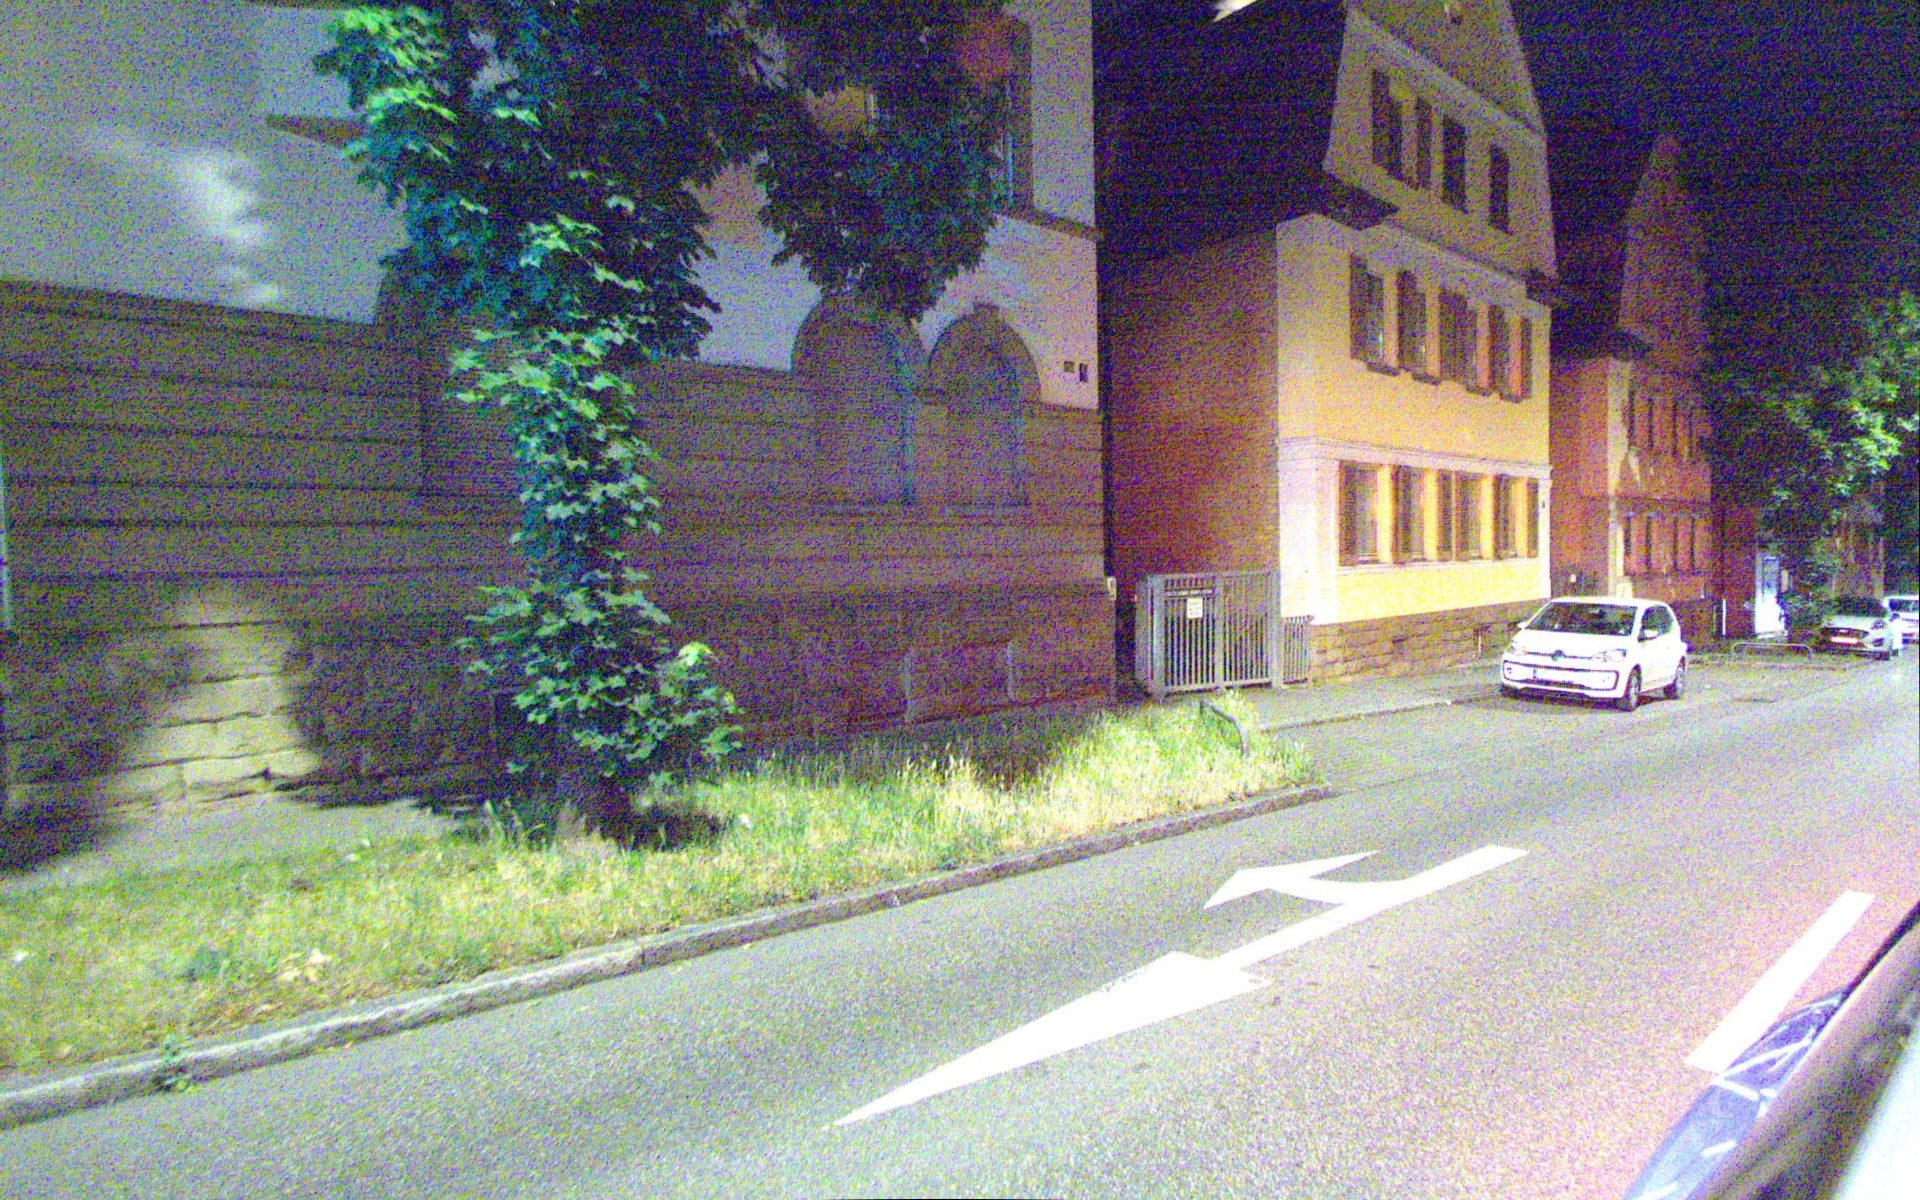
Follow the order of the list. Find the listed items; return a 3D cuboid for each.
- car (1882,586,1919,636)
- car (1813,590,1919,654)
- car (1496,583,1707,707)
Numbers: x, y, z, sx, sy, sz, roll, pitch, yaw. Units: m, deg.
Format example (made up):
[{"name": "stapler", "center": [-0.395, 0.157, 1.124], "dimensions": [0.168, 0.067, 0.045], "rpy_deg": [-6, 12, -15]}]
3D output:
[{"name": "car", "center": [33.543, 0.367, 35.141], "dimensions": [4.107, 1.673, 1.850], "rpy_deg": [0, 0, -42]}, {"name": "car", "center": [23.619, 0.507, 26.283], "dimensions": [3.824, 1.516, 1.740], "rpy_deg": [0, 2, -43]}, {"name": "car", "center": [9.280, 0.556, 14.561], "dimensions": [3.425, 1.527, 1.610], "rpy_deg": [0, 2, -41]}]
